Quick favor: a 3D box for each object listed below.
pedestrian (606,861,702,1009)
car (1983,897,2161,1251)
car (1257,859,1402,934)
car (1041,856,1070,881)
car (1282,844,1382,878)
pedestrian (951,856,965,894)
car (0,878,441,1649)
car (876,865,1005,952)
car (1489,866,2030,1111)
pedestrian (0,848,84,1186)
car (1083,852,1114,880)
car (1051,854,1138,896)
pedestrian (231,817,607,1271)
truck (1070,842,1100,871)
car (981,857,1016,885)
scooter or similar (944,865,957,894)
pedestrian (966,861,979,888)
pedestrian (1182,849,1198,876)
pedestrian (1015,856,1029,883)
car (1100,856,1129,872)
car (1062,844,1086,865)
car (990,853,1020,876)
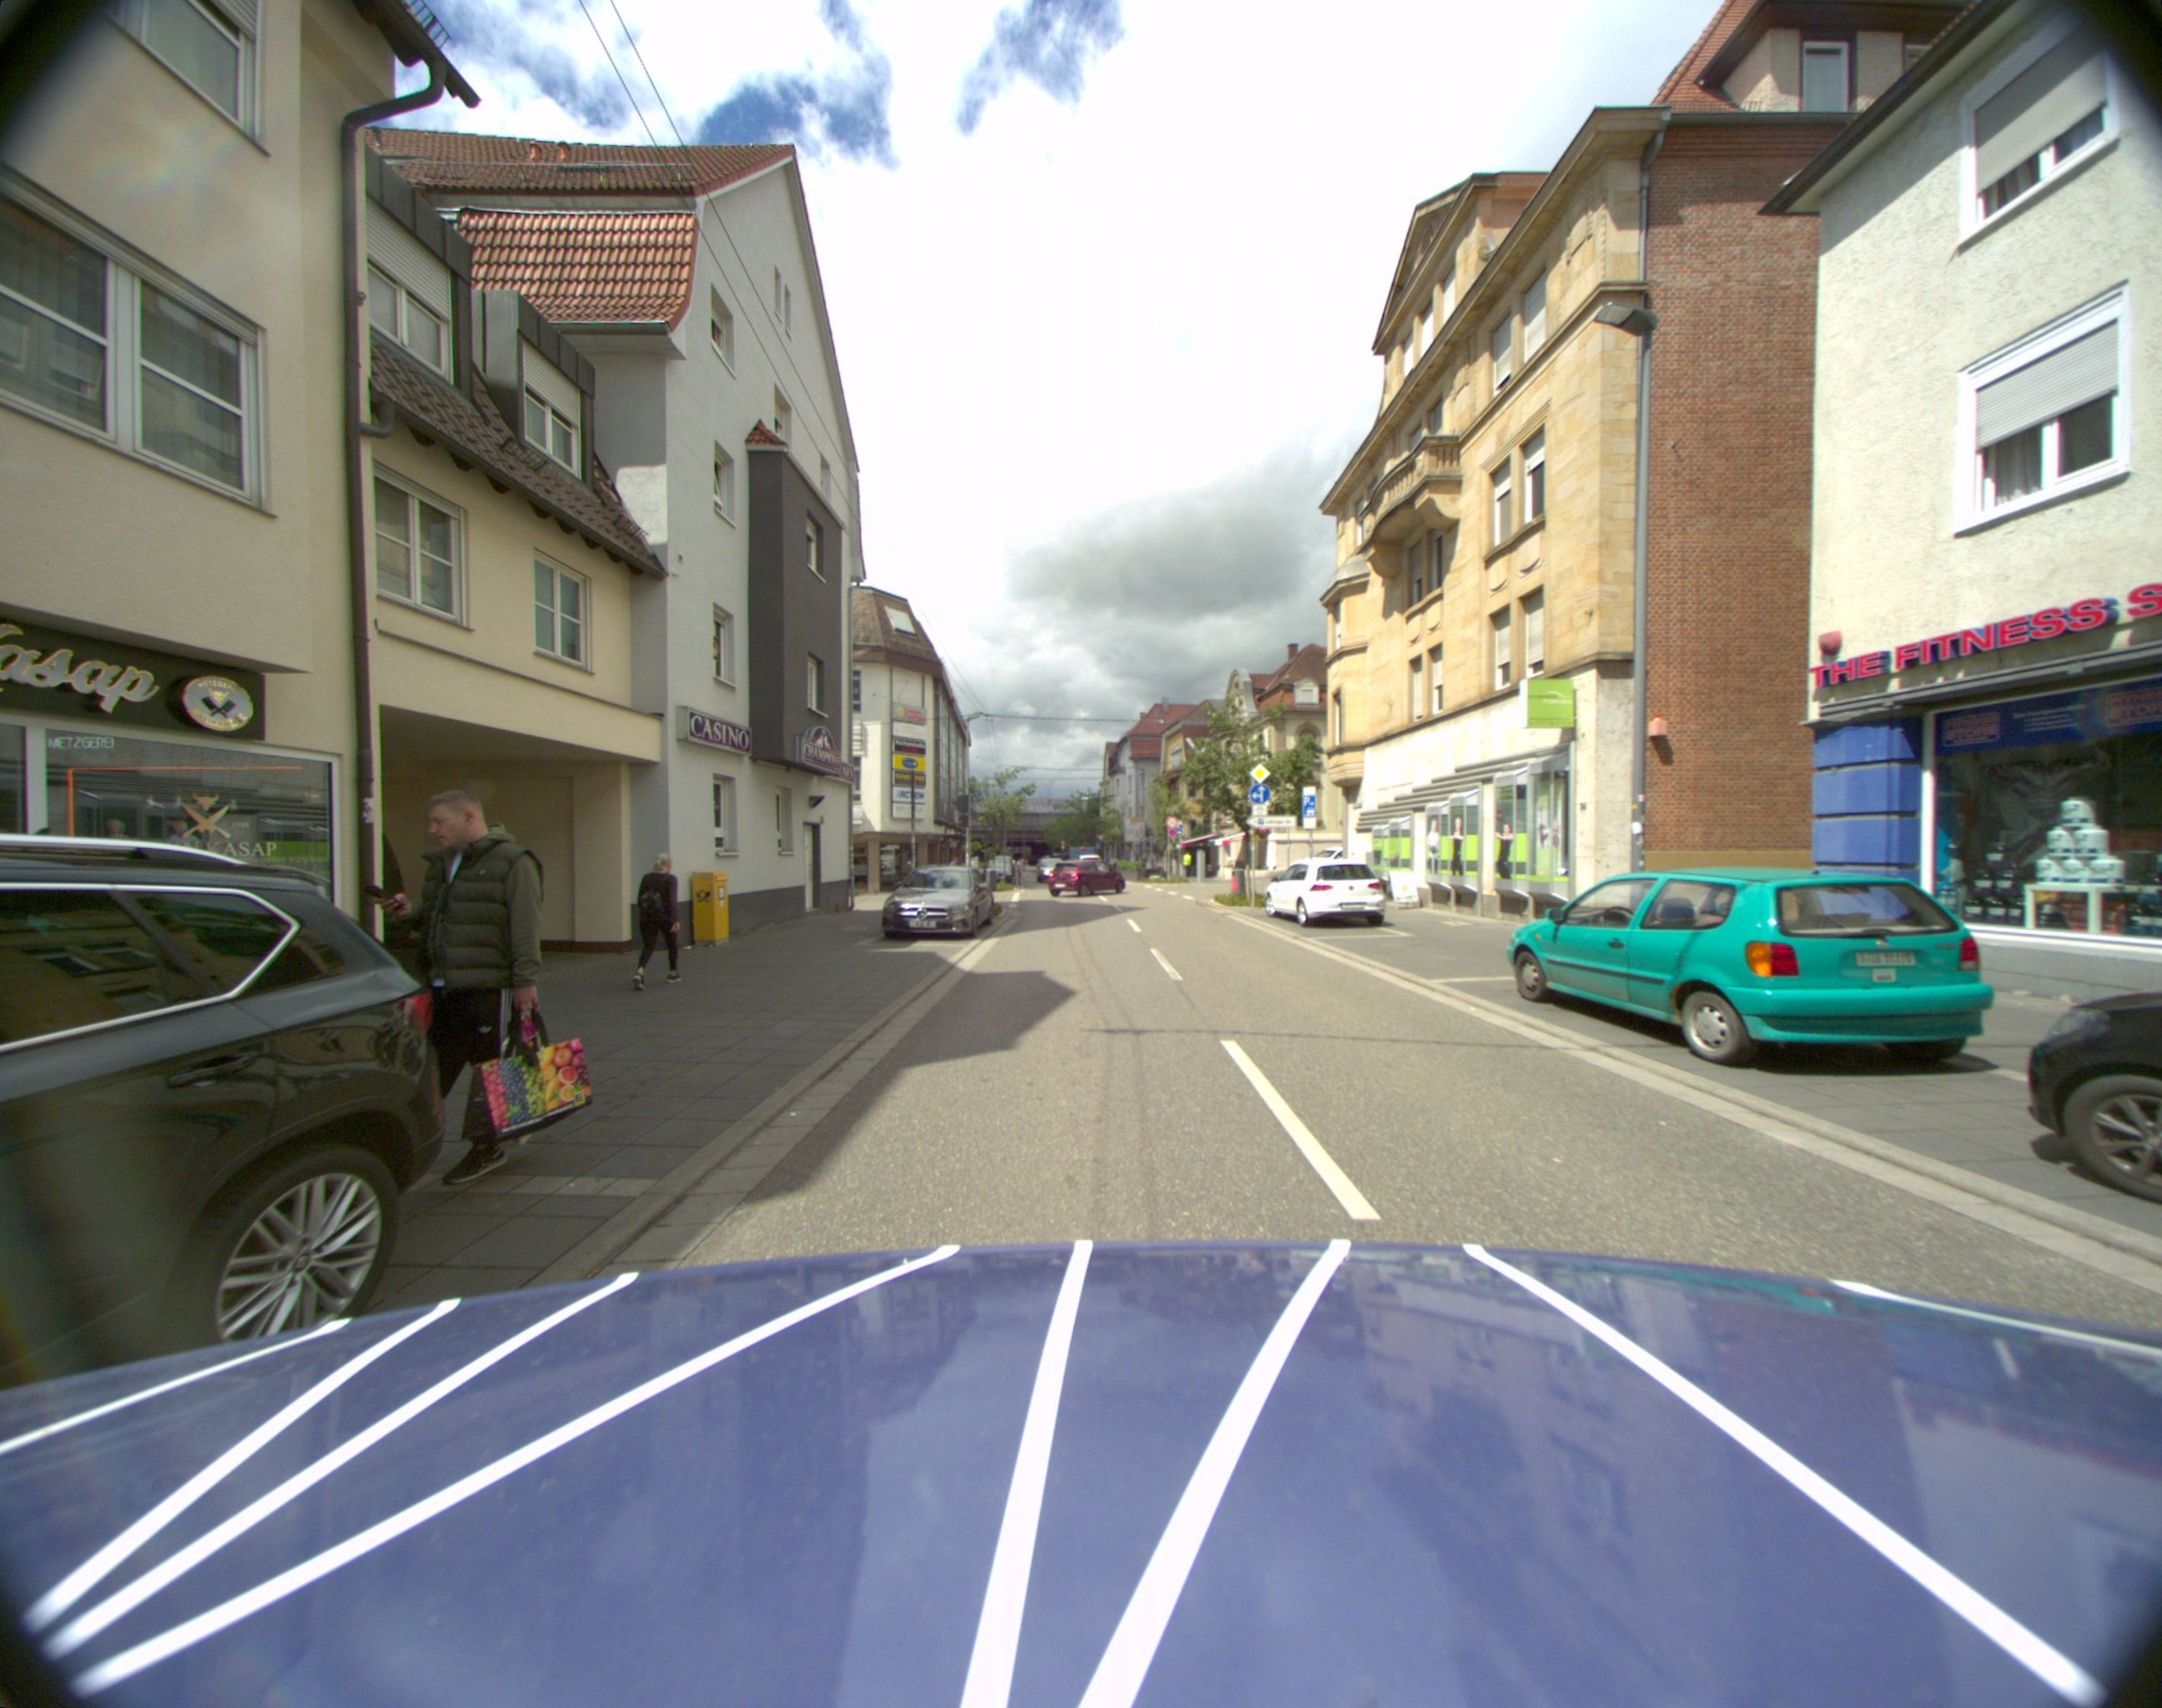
[{"bbox_3d":[-5.141,0.950,9.185,0.745,1.708,0.655,-1,2,-1],"label":"pedestrian"},{"bbox_3d":[5.575,0.930,2.145,1.602,1.437,3.554,-2,0,-9],"label":"car"},{"bbox_3d":[5.618,0.887,17.741,1.851,1.390,4.035,-2,1,-3],"label":"car"},{"bbox_3d":[-1.604,0.884,47.818,1.724,1.517,3.597,-1,0,-1],"label":"car"},{"bbox_3d":[12.449,0.331,37.719,4.391,1.373,1.996,-3,1,-20],"label":"car"},{"bbox_3d":[-5.639,0.970,34.863,0.572,1.693,0.481,-2,2,-7],"label":"pedestrian"},{"bbox_3d":[-3.151,0.896,0.663,1.804,1.594,4.202,1,0,-4],"label":"car"},{"bbox_3d":[-2.834,1.051,16.296,1.711,1.412,4.318,-2,1,3],"label":"car"},{"bbox_3d":[5.358,0.907,6.733,1.589,1.406,3.668,-2,1,2],"label":"car"},{"bbox_3d":[-5.763,0.834,3.835,0.537,1.708,0.606,-2,2,-1],"label":"pedestrian"},{"bbox_3d":[1.203,0.772,50.415,1.791,1.630,4.116,-2,1,4],"label":"car"},{"bbox_3d":[0.613,0.831,31.636,1.533,1.521,3.766,-1,2,41],"label":"car"},{"bbox_3d":[-2.965,0.777,3.532,0.978,1.853,0.864,1,1,-1],"label":"pedestrian"},{"bbox_3d":[0.275,0.166,65.144,2.112,2.292,6.472,-2,1,-3],"label":"truck"},{"bbox_3d":[-4.658,0.912,43.550,1.720,1.445,4.550,-1,0,-3],"label":"car"},{"bbox_3d":[-5.958,1.148,34.663,0.432,1.273,1.248,-2,1,-5],"label":"scooter or similar"},{"bbox_3d":[-6.443,1.185,45.006,0.661,1.553,0.477,-2,2,-3],"label":"pedestrian"},{"bbox_3d":[7.199,0.539,50.254,0.801,1.746,0.812,-2,2,-8],"label":"pedestrian"},{"bbox_3d":[-3.516,0.915,45.298,0.584,1.591,0.549,-2,2,17],"label":"pedestrian"},{"bbox_3d":[2.933,0.893,67.714,1.723,1.296,4.463,-1,-1,-9],"label":"car"},{"bbox_3d":[-1.039,0.026,103.763,2.310,2.657,7.263,-2,1,-8],"label":"car"},{"bbox_3d":[-5.691,0.778,57.346,1.825,1.652,4.465,1,0,-1],"label":"car"}]
